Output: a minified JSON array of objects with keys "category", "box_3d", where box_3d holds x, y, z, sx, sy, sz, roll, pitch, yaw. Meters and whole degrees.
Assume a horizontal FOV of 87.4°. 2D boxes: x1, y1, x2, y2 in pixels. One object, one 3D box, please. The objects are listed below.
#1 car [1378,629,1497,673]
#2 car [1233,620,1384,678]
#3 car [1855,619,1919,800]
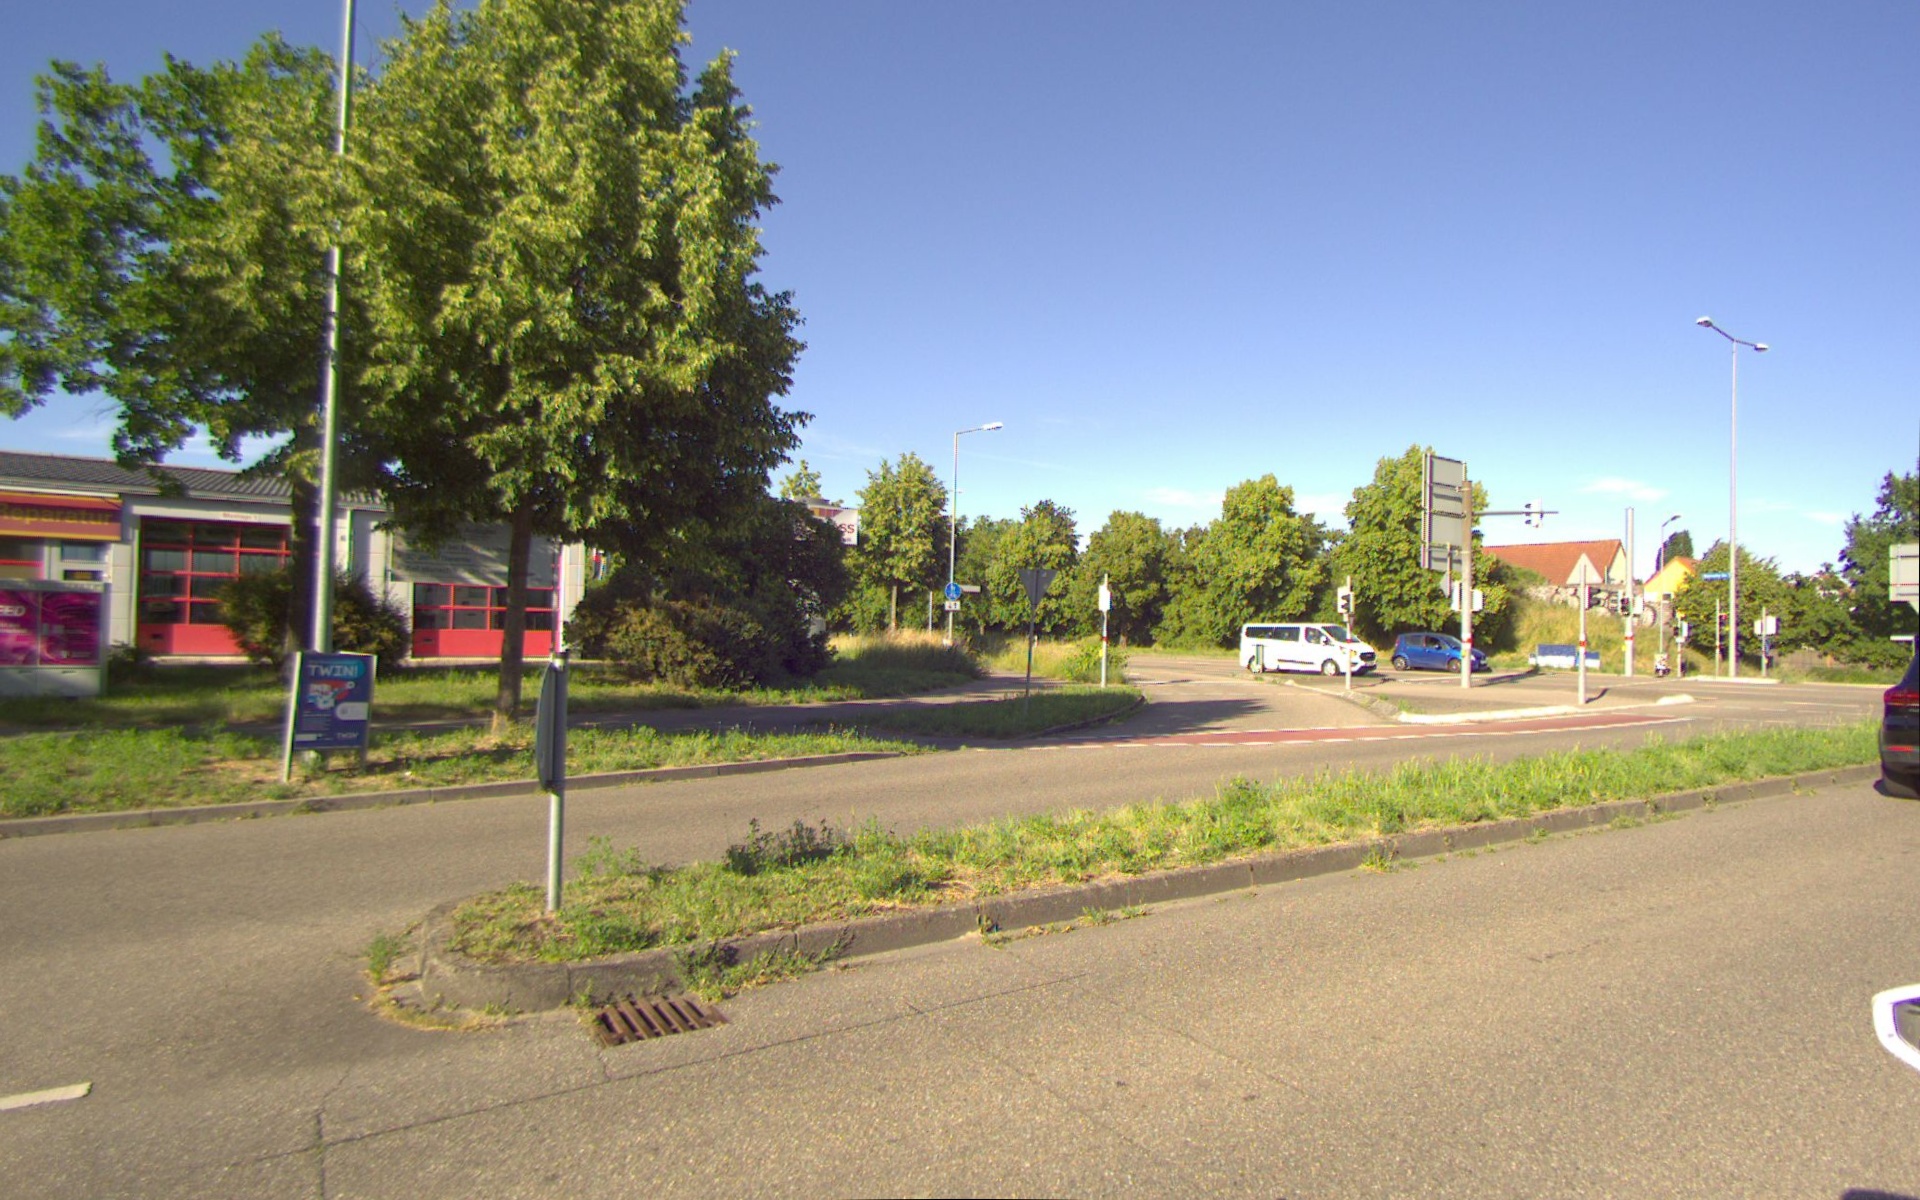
[{"category":"car","box_3d":[19.580,2.040,41.322,1.875,1.666,3.999,0,-1,-36]},{"category":"car","box_3d":[13.138,1.799,38.190,2.028,2.040,5.223,0,-1,-36]},{"category":"car","box_3d":[10.684,1.058,9.794,3.953,1.649,1.818,2,-2,-30]}]
